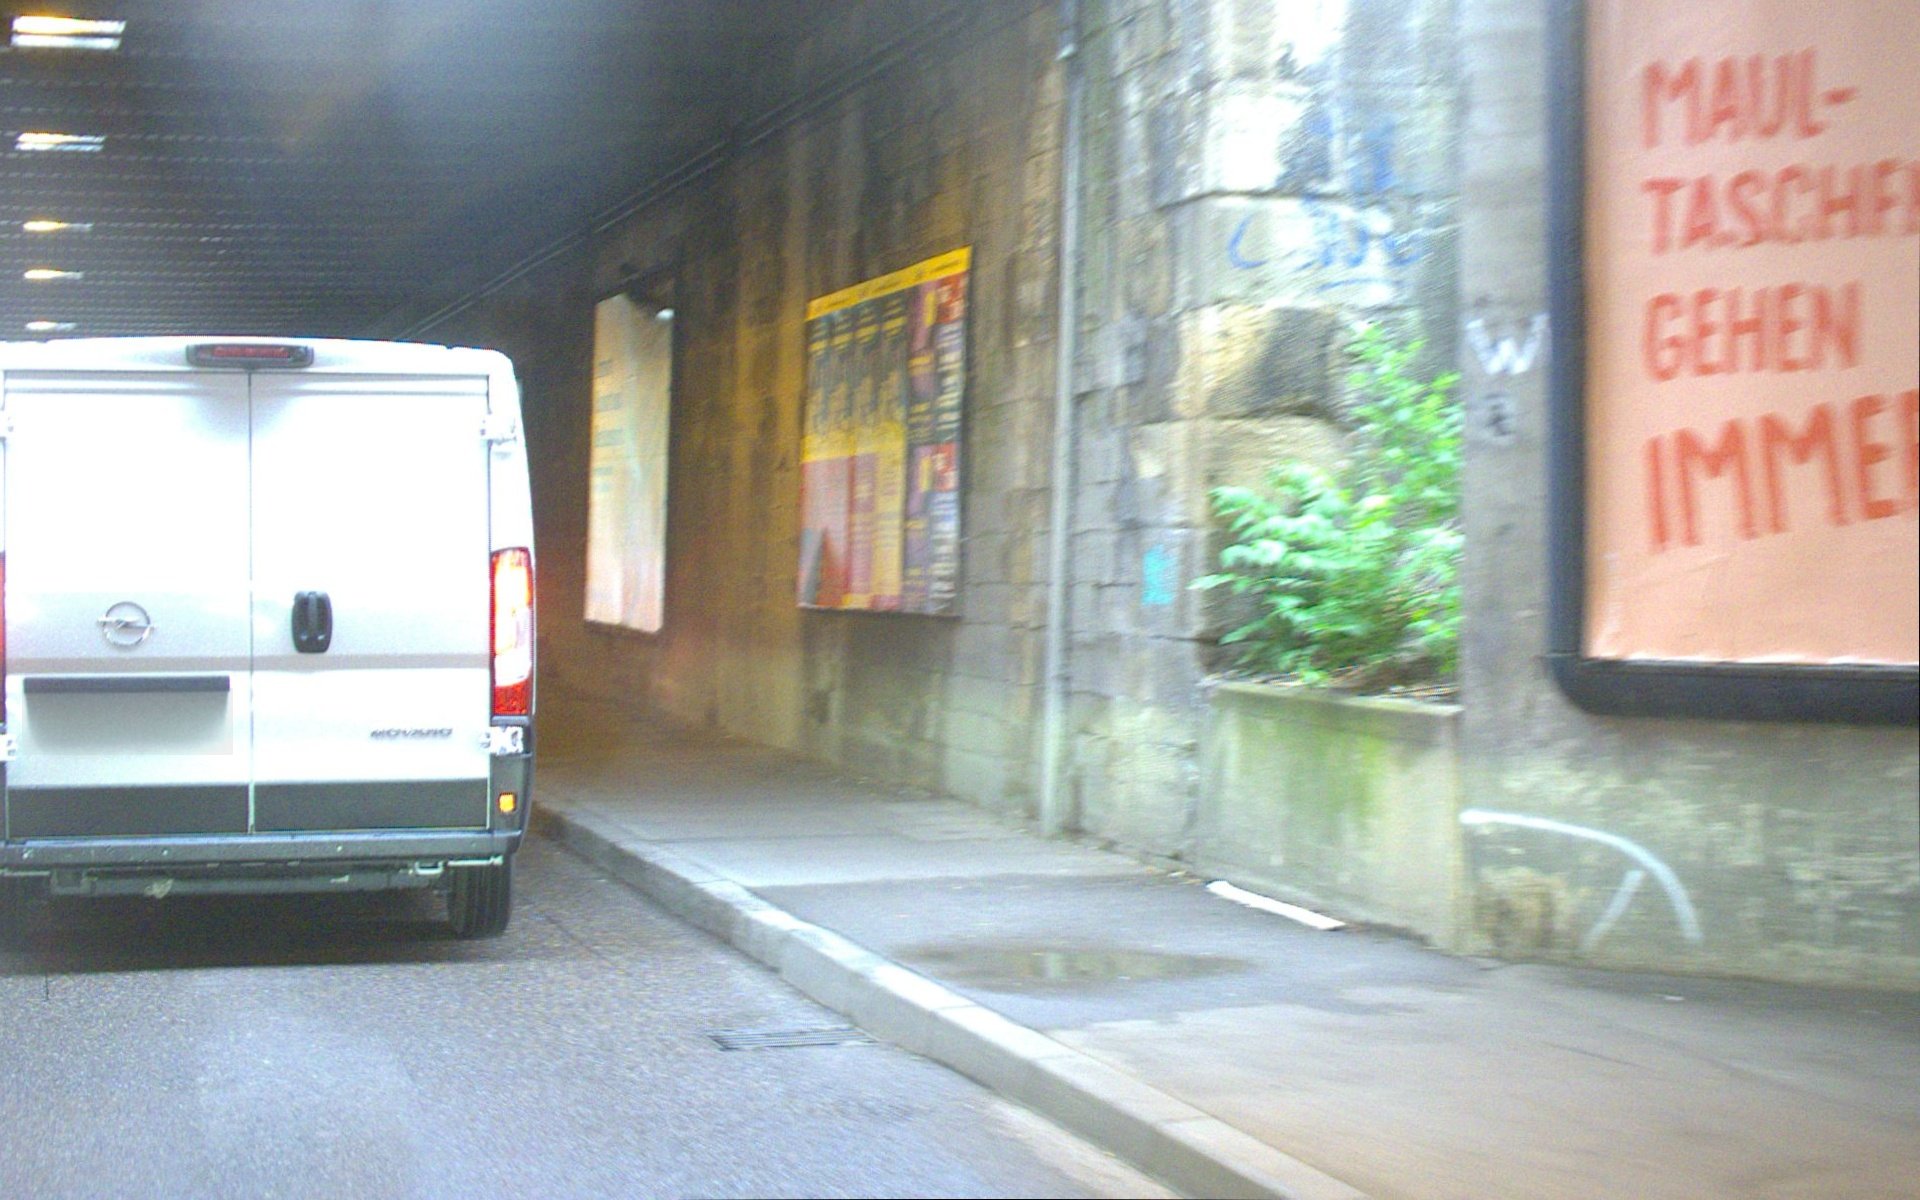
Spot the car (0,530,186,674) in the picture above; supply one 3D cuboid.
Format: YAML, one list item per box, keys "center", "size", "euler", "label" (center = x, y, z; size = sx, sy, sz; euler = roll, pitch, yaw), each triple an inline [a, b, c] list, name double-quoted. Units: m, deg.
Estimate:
- center: [-9.259, -0.023, 36.858]
  size: [1.835, 1.433, 4.104]
  euler: [-1, 1, -13]
  label: "car"

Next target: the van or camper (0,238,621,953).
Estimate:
- center: [-3.082, -0.007, 14.141]
  size: [2.697, 2.408, 4.904]
  euler: [0, 0, -13]
  label: "van or camper"
